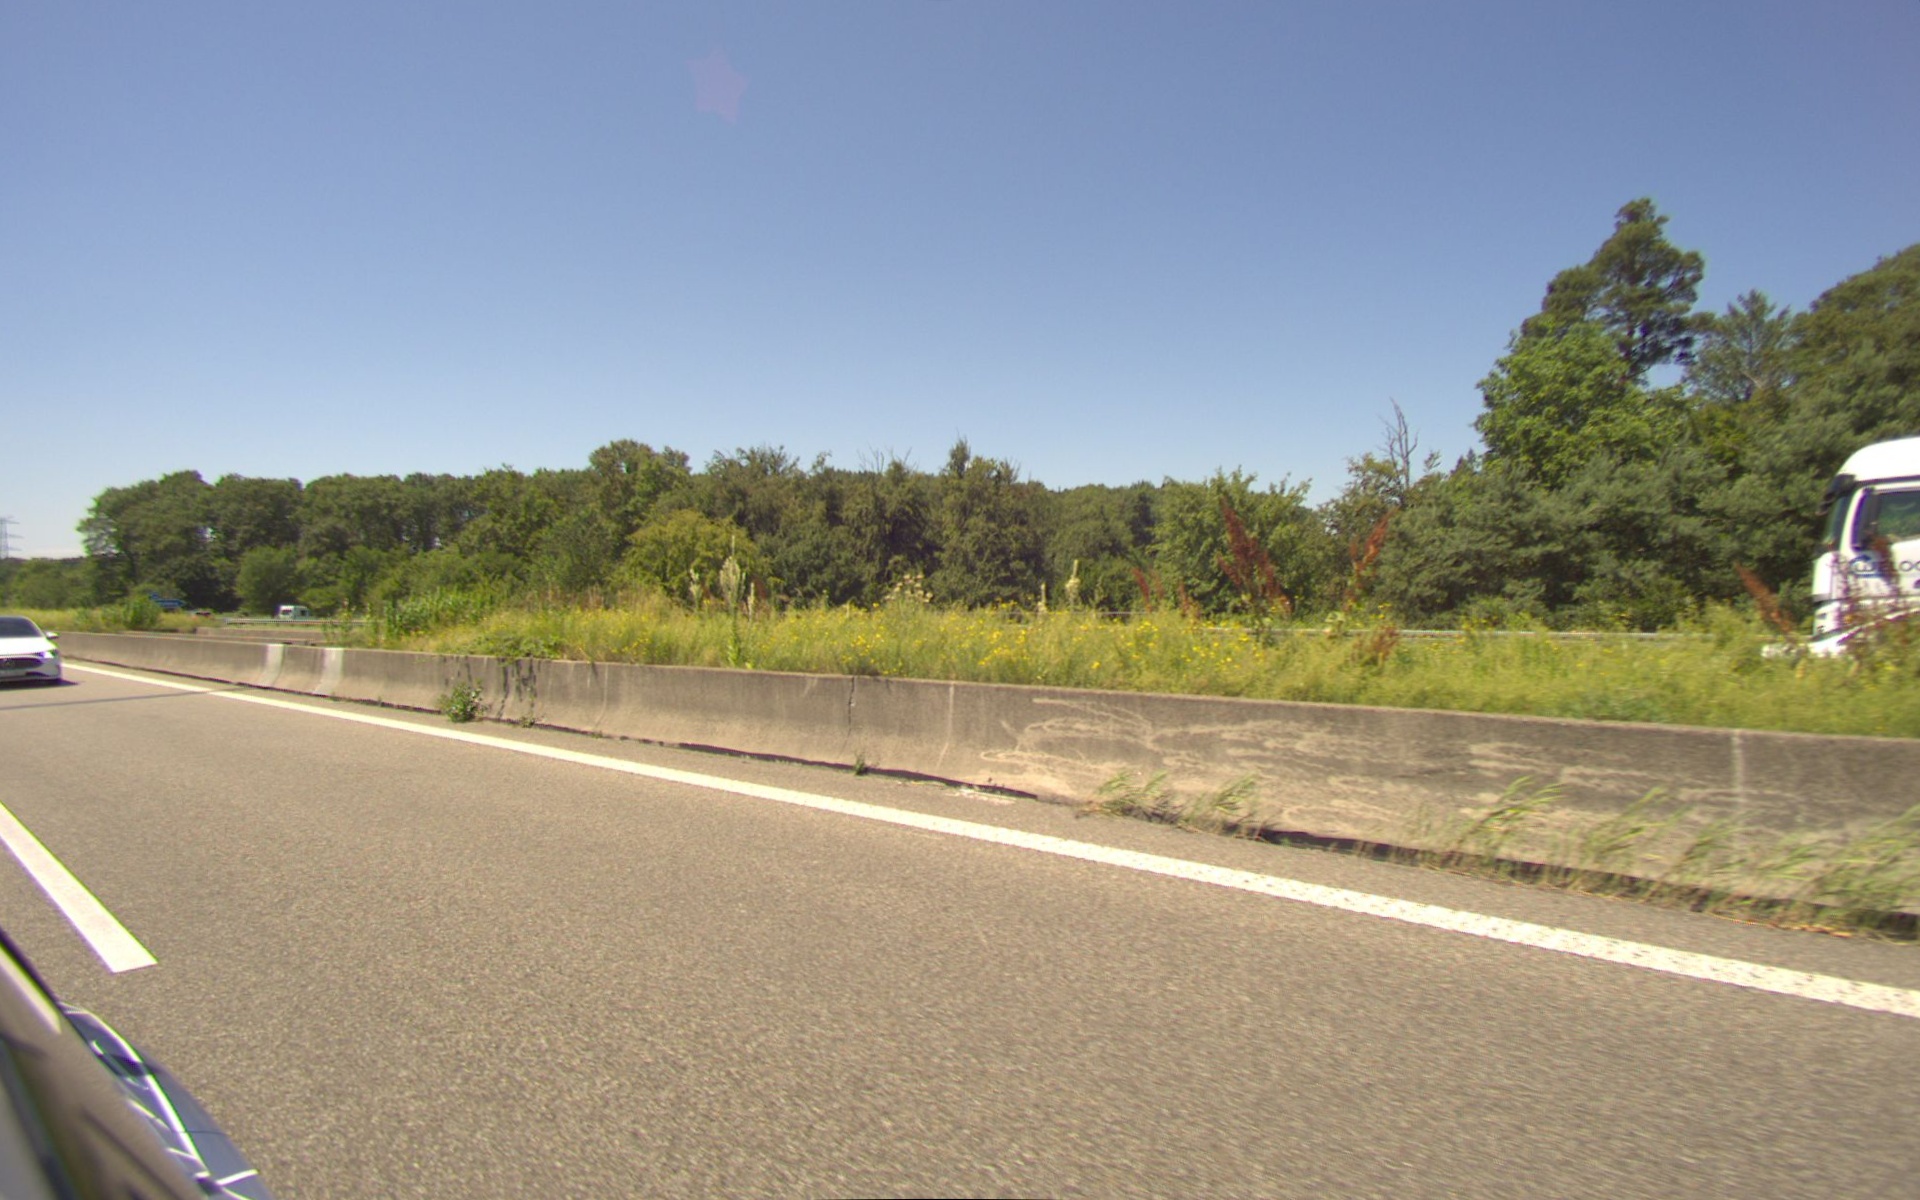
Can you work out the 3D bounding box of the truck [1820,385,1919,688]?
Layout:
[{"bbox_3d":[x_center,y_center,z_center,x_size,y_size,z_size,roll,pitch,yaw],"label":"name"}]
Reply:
[{"bbox_3d":[16.298,-0.927,12.800,8.189,4.107,2.953,-1,-1,41],"label":"truck"}]

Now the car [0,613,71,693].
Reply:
[{"bbox_3d":[-20.111,1.061,20.893,5.102,1.459,1.750,-1,2,39],"label":"car"}]

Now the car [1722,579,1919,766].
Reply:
[{"bbox_3d":[11.534,0.773,11.386,4.585,2.029,1.973,-1,0,41],"label":"car"}]
